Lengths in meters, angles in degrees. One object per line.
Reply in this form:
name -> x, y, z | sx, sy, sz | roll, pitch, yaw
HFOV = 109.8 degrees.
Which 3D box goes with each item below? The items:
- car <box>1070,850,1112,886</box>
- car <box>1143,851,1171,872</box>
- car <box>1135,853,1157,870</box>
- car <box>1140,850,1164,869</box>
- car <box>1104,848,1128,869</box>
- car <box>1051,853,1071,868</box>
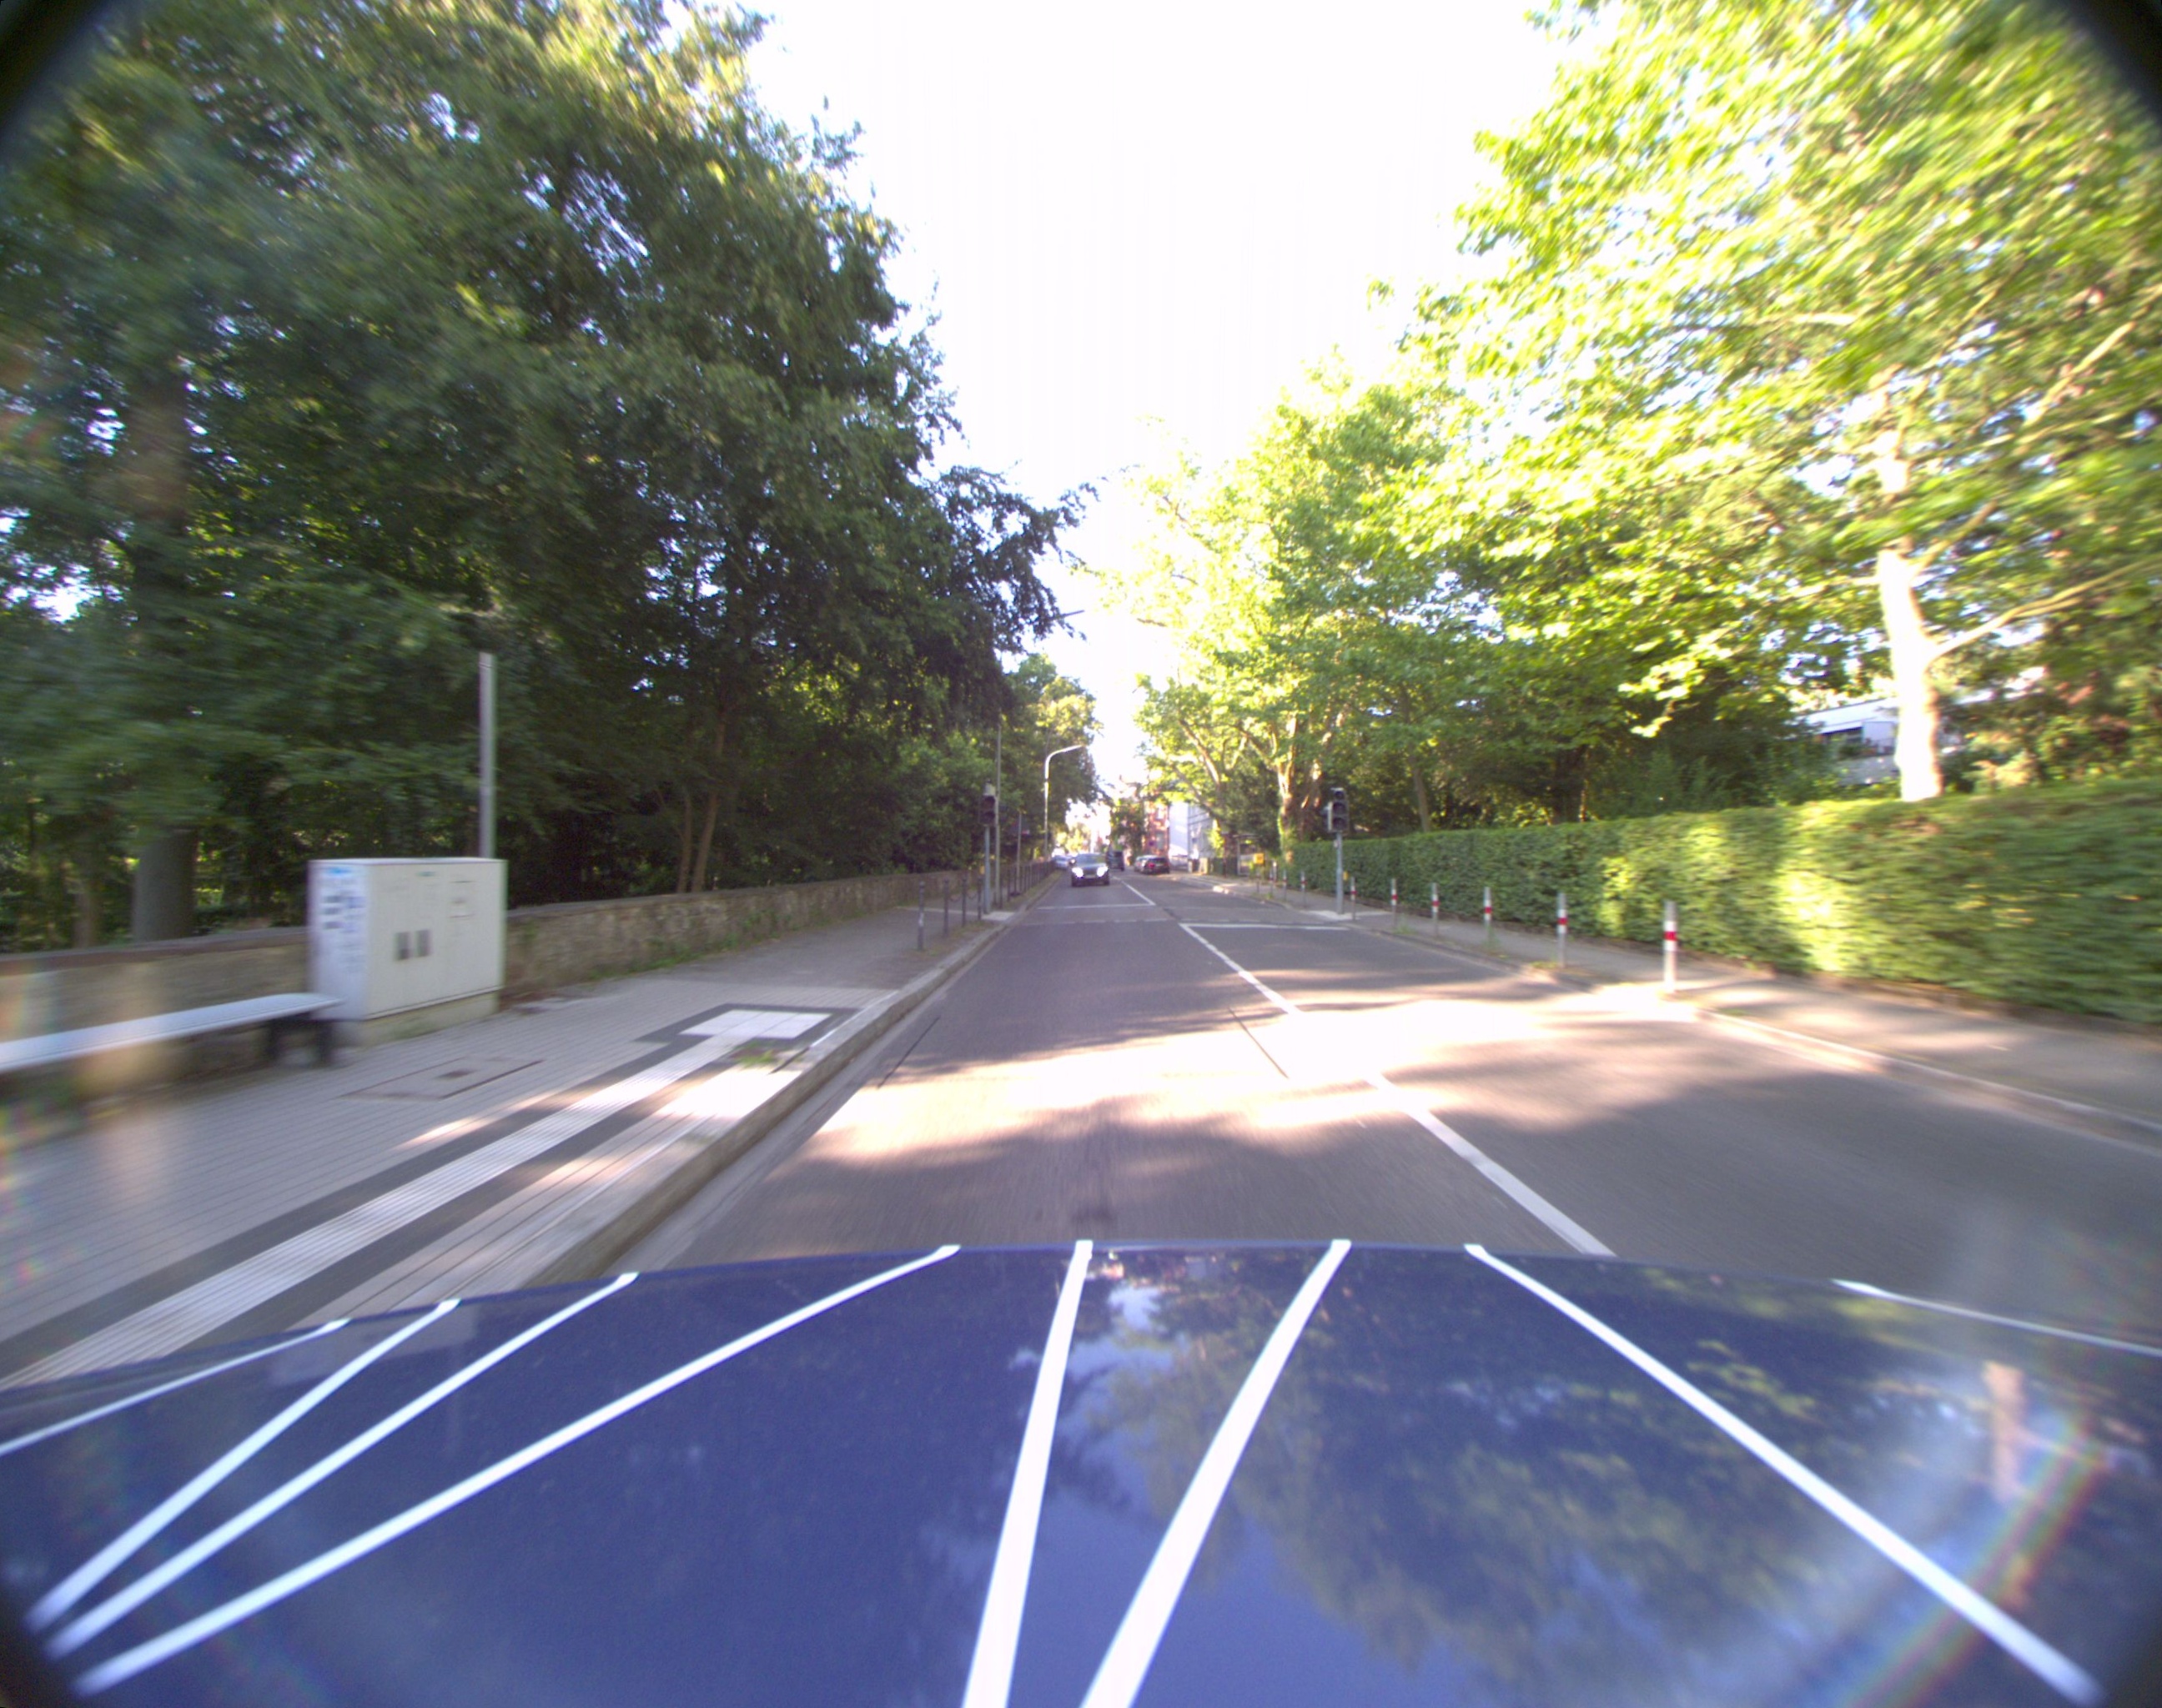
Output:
car -> 0.545, 0.669, 37.770 | 1.936, 1.676, 4.433 | -1, 0, 2
car -> 5.903, 0.557, 59.171 | 1.689, 1.425, 3.615 | -4, 0, -1
car -> 5.891, 0.701, 69.404 | 1.628, 1.426, 3.559 | -2, 0, -1
car -> 5.983, 0.469, 64.385 | 1.628, 1.537, 3.321 | -1, 0, -1
car -> 3.375, 0.416, 73.888 | 1.999, 1.957, 4.776 | 1, 1, -2
car -> -2.080, 0.612, 77.646 | 1.824, 1.375, 3.933 | 2, 1, -4
